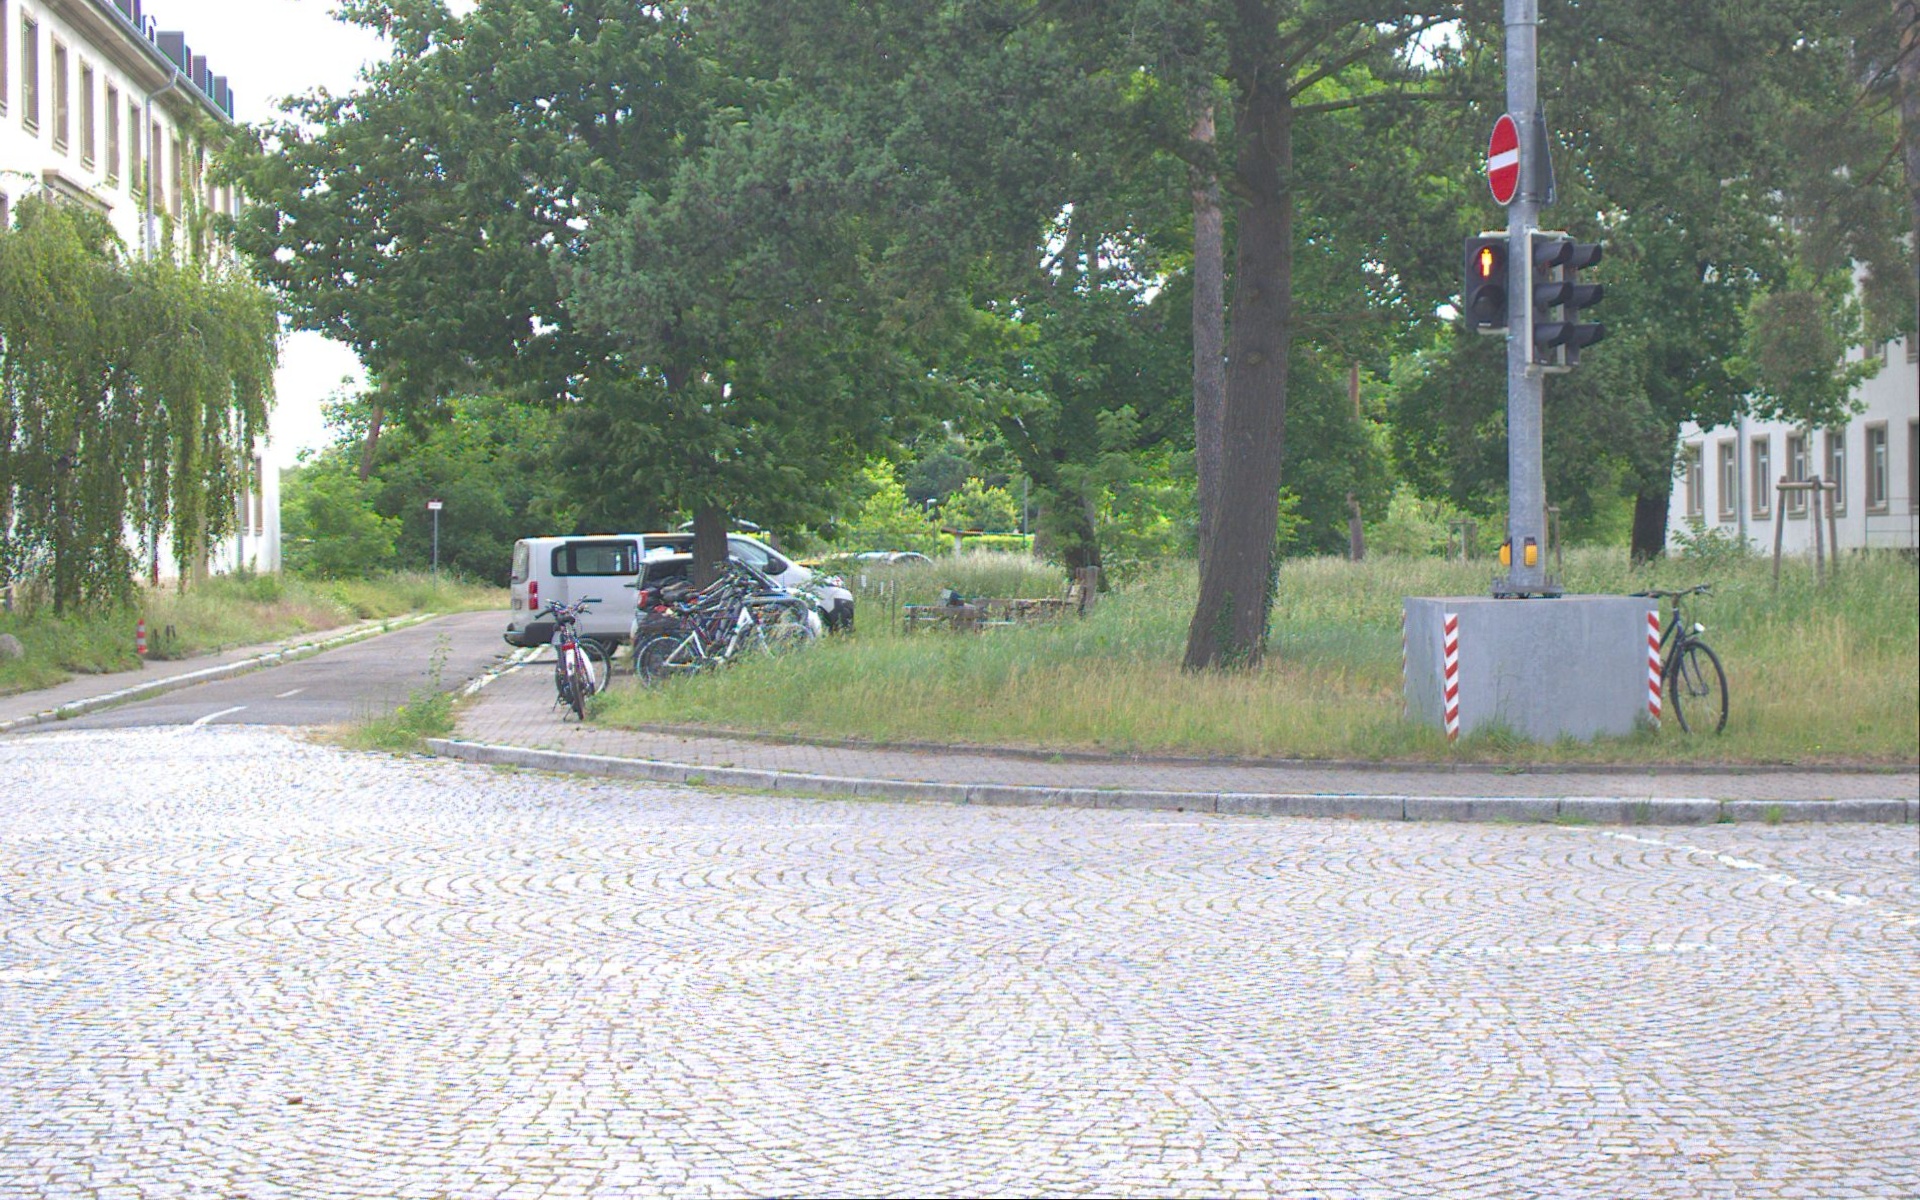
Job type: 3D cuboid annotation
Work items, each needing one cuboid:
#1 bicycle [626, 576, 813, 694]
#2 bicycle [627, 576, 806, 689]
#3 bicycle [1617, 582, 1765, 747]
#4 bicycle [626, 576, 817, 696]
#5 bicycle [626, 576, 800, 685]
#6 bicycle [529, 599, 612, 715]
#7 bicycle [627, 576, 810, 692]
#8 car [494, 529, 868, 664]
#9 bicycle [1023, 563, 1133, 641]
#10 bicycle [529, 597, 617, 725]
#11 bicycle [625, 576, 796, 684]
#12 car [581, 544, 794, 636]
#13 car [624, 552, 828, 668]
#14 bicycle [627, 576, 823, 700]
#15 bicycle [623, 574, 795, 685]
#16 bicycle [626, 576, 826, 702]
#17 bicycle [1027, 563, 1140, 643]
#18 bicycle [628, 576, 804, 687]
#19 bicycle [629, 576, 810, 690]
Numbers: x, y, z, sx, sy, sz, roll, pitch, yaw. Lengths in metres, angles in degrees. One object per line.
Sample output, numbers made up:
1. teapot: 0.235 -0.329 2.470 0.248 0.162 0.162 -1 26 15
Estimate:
1. bicycle: -2.604 0.375 37.126 1.982 1.243 0.624 0 0 -6
2. bicycle: -2.750 0.364 38.709 1.982 1.243 0.624 0 0 -6
3. bicycle: 4.828 0.410 22.780 0.580 0.967 1.678 -2 2 0
4. bicycle: -2.525 0.381 36.270 1.982 1.243 0.624 0 0 -6
5. bicycle: -2.872 0.356 39.864 1.982 1.243 0.624 0 0 -6
6. bicycle: -3.749 0.536 33.199 0.622 1.079 1.678 0 0 0
7. bicycle: -2.656 0.371 37.757 1.982 1.243 0.624 0 0 -6
8. car: -4.289 -0.075 52.731 5.303 1.909 2.150 -1 1 -19
9. bicycle: 1.707 0.028 49.844 1.549 1.121 0.401 -1 0 -3
10. bicycle: -3.505 0.535 31.257 0.622 1.110 1.989 0 0 -2
11. bicycle: -2.934 0.352 40.355 1.982 1.243 0.624 0 0 -6
12. car: -5.291 -0.195 66.586 4.031 1.712 1.681 -1 0 -5
13. car: -3.371 0.132 49.313 2.847 1.552 1.472 -1 2 -5
14. bicycle: -2.426 0.387 35.348 1.982 1.243 0.624 0 0 -6
15. bicycle: -2.995 0.348 41.012 1.982 1.243 0.624 -2 0 -6
16. bicycle: -2.369 0.392 34.721 1.982 1.243 0.624 0 0 -6
17. bicycle: 1.742 0.038 48.612 1.549 1.121 0.401 -1 0 -3
18. bicycle: -2.803 0.360 39.354 1.982 1.243 0.624 0 0 -6
19. bicycle: -2.688 0.367 38.282 1.982 1.243 0.624 0 0 -6
